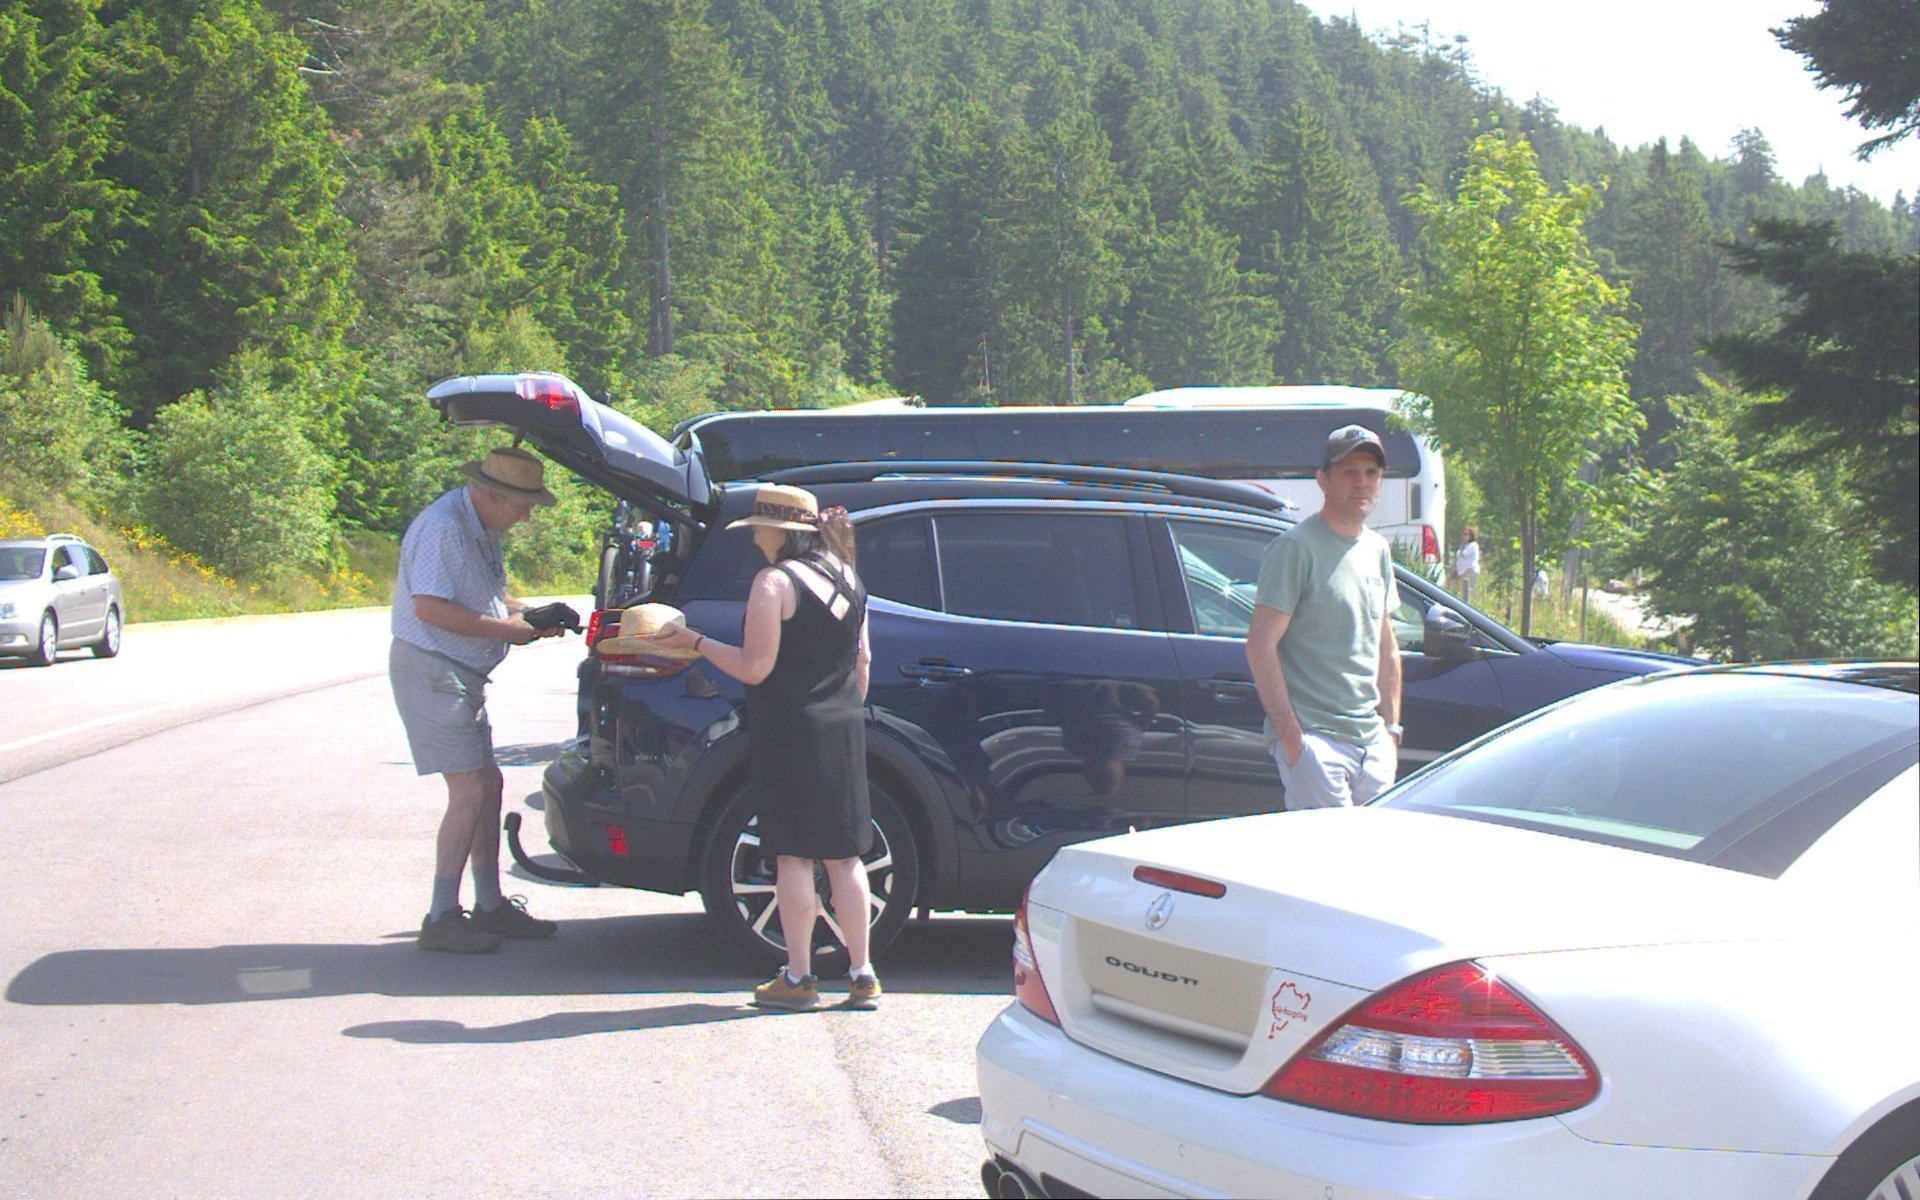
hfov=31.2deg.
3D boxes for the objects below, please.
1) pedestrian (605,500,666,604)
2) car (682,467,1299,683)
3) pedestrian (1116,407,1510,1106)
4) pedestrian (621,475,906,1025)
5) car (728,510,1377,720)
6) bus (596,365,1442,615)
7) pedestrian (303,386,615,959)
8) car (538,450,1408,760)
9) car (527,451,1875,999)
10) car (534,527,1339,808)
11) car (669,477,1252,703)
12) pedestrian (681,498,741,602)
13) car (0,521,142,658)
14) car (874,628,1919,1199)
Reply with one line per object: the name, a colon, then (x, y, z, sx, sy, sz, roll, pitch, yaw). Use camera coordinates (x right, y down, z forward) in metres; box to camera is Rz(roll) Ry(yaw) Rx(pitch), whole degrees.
pedestrian: (-5.022, -0.751, 53.238, 0.770, 1.579, 0.772, -1, 1, 5)
car: (0.228, -0.234, 29.307, 5.033, 1.645, 2.048, -2, 1, -2)
pedestrian: (0.953, 0.399, 9.328, 0.746, 1.794, 0.736, 0, 0, -34)
pedestrian: (-0.602, 0.438, 10.437, 0.714, 1.607, 0.537, 0, 0, -22)
car: (0.587, 0.076, 23.519, 4.243, 1.264, 1.838, -2, 1, -2)
bus: (1.006, -1.708, 54.671, 13.097, 3.520, 3.043, -1, 1, 9)
pedestrian: (-1.703, 0.212, 11.711, 0.736, 1.864, 0.757, 3, 4, 28)
car: (0.080, 0.003, 20.621, 4.949, 1.690, 1.945, -1, 1, 0)
car: (0.709, 0.411, 11.973, 4.343, 1.620, 1.870, 2, 0, -7)
car: (-0.194, 0.337, 18.345, 4.080, 1.372, 1.703, 1, 1, -8)
car: (-0.017, -0.095, 26.186, 4.243, 1.548, 1.838, -2, 1, -2)
pedestrian: (-3.840, -0.774, 53.136, 0.770, 1.579, 0.772, -1, 1, 5)
car: (-10.999, -0.162, 39.571, 1.879, 1.469, 4.714, 0, 1, 2)
car: (2.218, 0.773, 6.418, 4.397, 1.291, 1.756, 1, 2, -25)
